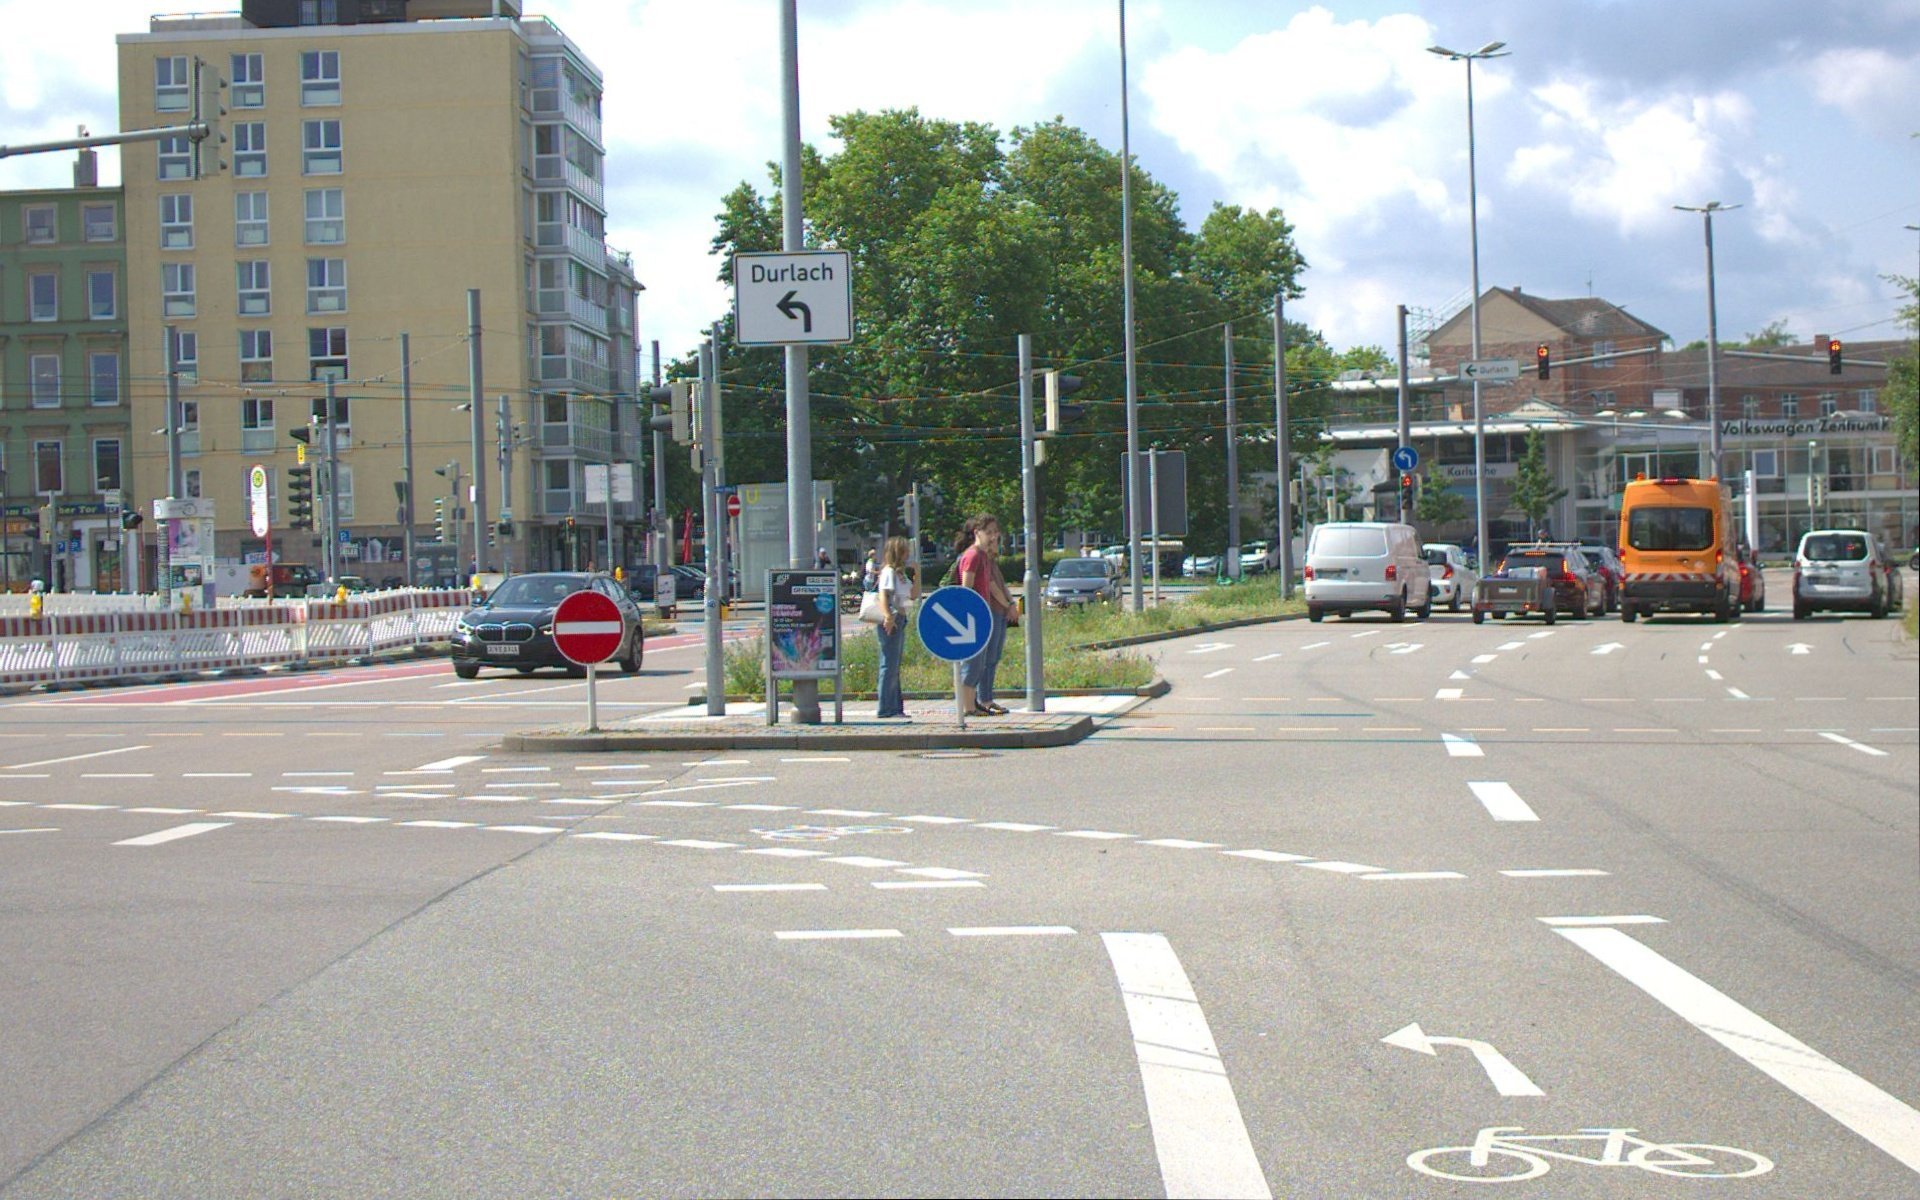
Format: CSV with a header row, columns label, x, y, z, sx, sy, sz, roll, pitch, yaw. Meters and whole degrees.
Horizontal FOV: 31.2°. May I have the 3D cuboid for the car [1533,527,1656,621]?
label,x,y,z,sx,sy,sz,roll,pitch,yaw
car,14.030,-0.593,75.844,1.993,1.932,4.635,-2,1,18

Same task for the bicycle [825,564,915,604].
label,x,y,z,sx,sy,sz,roll,pitch,yaw
bicycle,-2.541,-0.461,97.237,2.380,1.063,0.842,-1,1,15

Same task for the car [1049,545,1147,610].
label,x,y,z,sx,sy,sz,roll,pitch,yaw
car,3.303,-0.559,81.568,1.663,1.475,4.060,1,1,11

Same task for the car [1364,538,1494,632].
label,x,y,z,sx,sy,sz,roll,pitch,yaw
car,10.433,-0.357,76.261,1.993,1.932,4.635,-2,1,18

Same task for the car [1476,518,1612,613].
label,x,y,z,sx,sy,sz,roll,pitch,yaw
car,11.853,-0.720,69.624,1.995,1.820,3.996,-2,1,20

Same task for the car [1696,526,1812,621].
label,x,y,z,sx,sy,sz,roll,pitch,yaw
car,17.366,-0.600,75.050,1.993,1.932,4.635,-2,1,18

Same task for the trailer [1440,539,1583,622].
label,x,y,z,sx,sy,sz,roll,pitch,yaw
trailer,10.682,-0.398,66.389,1.995,1.472,3.996,-2,1,20

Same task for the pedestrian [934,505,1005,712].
label,x,y,z,sx,sy,sz,roll,pitch,yaw
pedestrian,0.082,0.067,29.303,0.525,1.727,0.623,-1,1,4

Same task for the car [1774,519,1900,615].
label,x,y,z,sx,sy,sz,roll,pitch,yaw
car,17.422,-0.678,68.215,1.995,1.789,3.996,-2,1,20

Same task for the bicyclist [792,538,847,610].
label,x,y,z,sx,sy,sz,roll,pitch,yaw
bicyclist,-3.784,-0.706,92.516,1.220,1.903,0.858,-1,1,15

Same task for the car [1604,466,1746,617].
label,x,y,z,sx,sy,sz,roll,pitch,yaw
car,13.980,-1.140,67.013,2.132,2.771,4.635,-2,1,18

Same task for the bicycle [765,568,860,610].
label,x,y,z,sx,sy,sz,roll,pitch,yaw
bicycle,-3.974,-0.285,92.563,2.380,1.063,0.858,-1,1,15

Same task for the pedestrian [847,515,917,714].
label,x,y,z,sx,sy,sz,roll,pitch,yaw
pedestrian,-0.686,0.120,30.342,0.525,1.727,0.623,-1,1,4

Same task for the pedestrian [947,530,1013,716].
label,x,y,z,sx,sy,sz,roll,pitch,yaw
pedestrian,0.185,0.201,31.518,0.525,1.678,0.623,-1,1,4

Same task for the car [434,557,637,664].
label,x,y,z,sx,sy,sz,roll,pitch,yaw
car,-5.814,0.116,47.581,1.792,1.383,4.226,-1,1,7

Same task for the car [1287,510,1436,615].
label,x,y,z,sx,sy,sz,roll,pitch,yaw
car,8.064,-0.769,68.661,2.007,1.960,4.635,-2,1,18

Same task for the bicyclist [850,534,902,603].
label,x,y,z,sx,sy,sz,roll,pitch,yaw
bicyclist,-2.377,-0.887,97.190,1.220,1.903,0.833,-1,1,15
